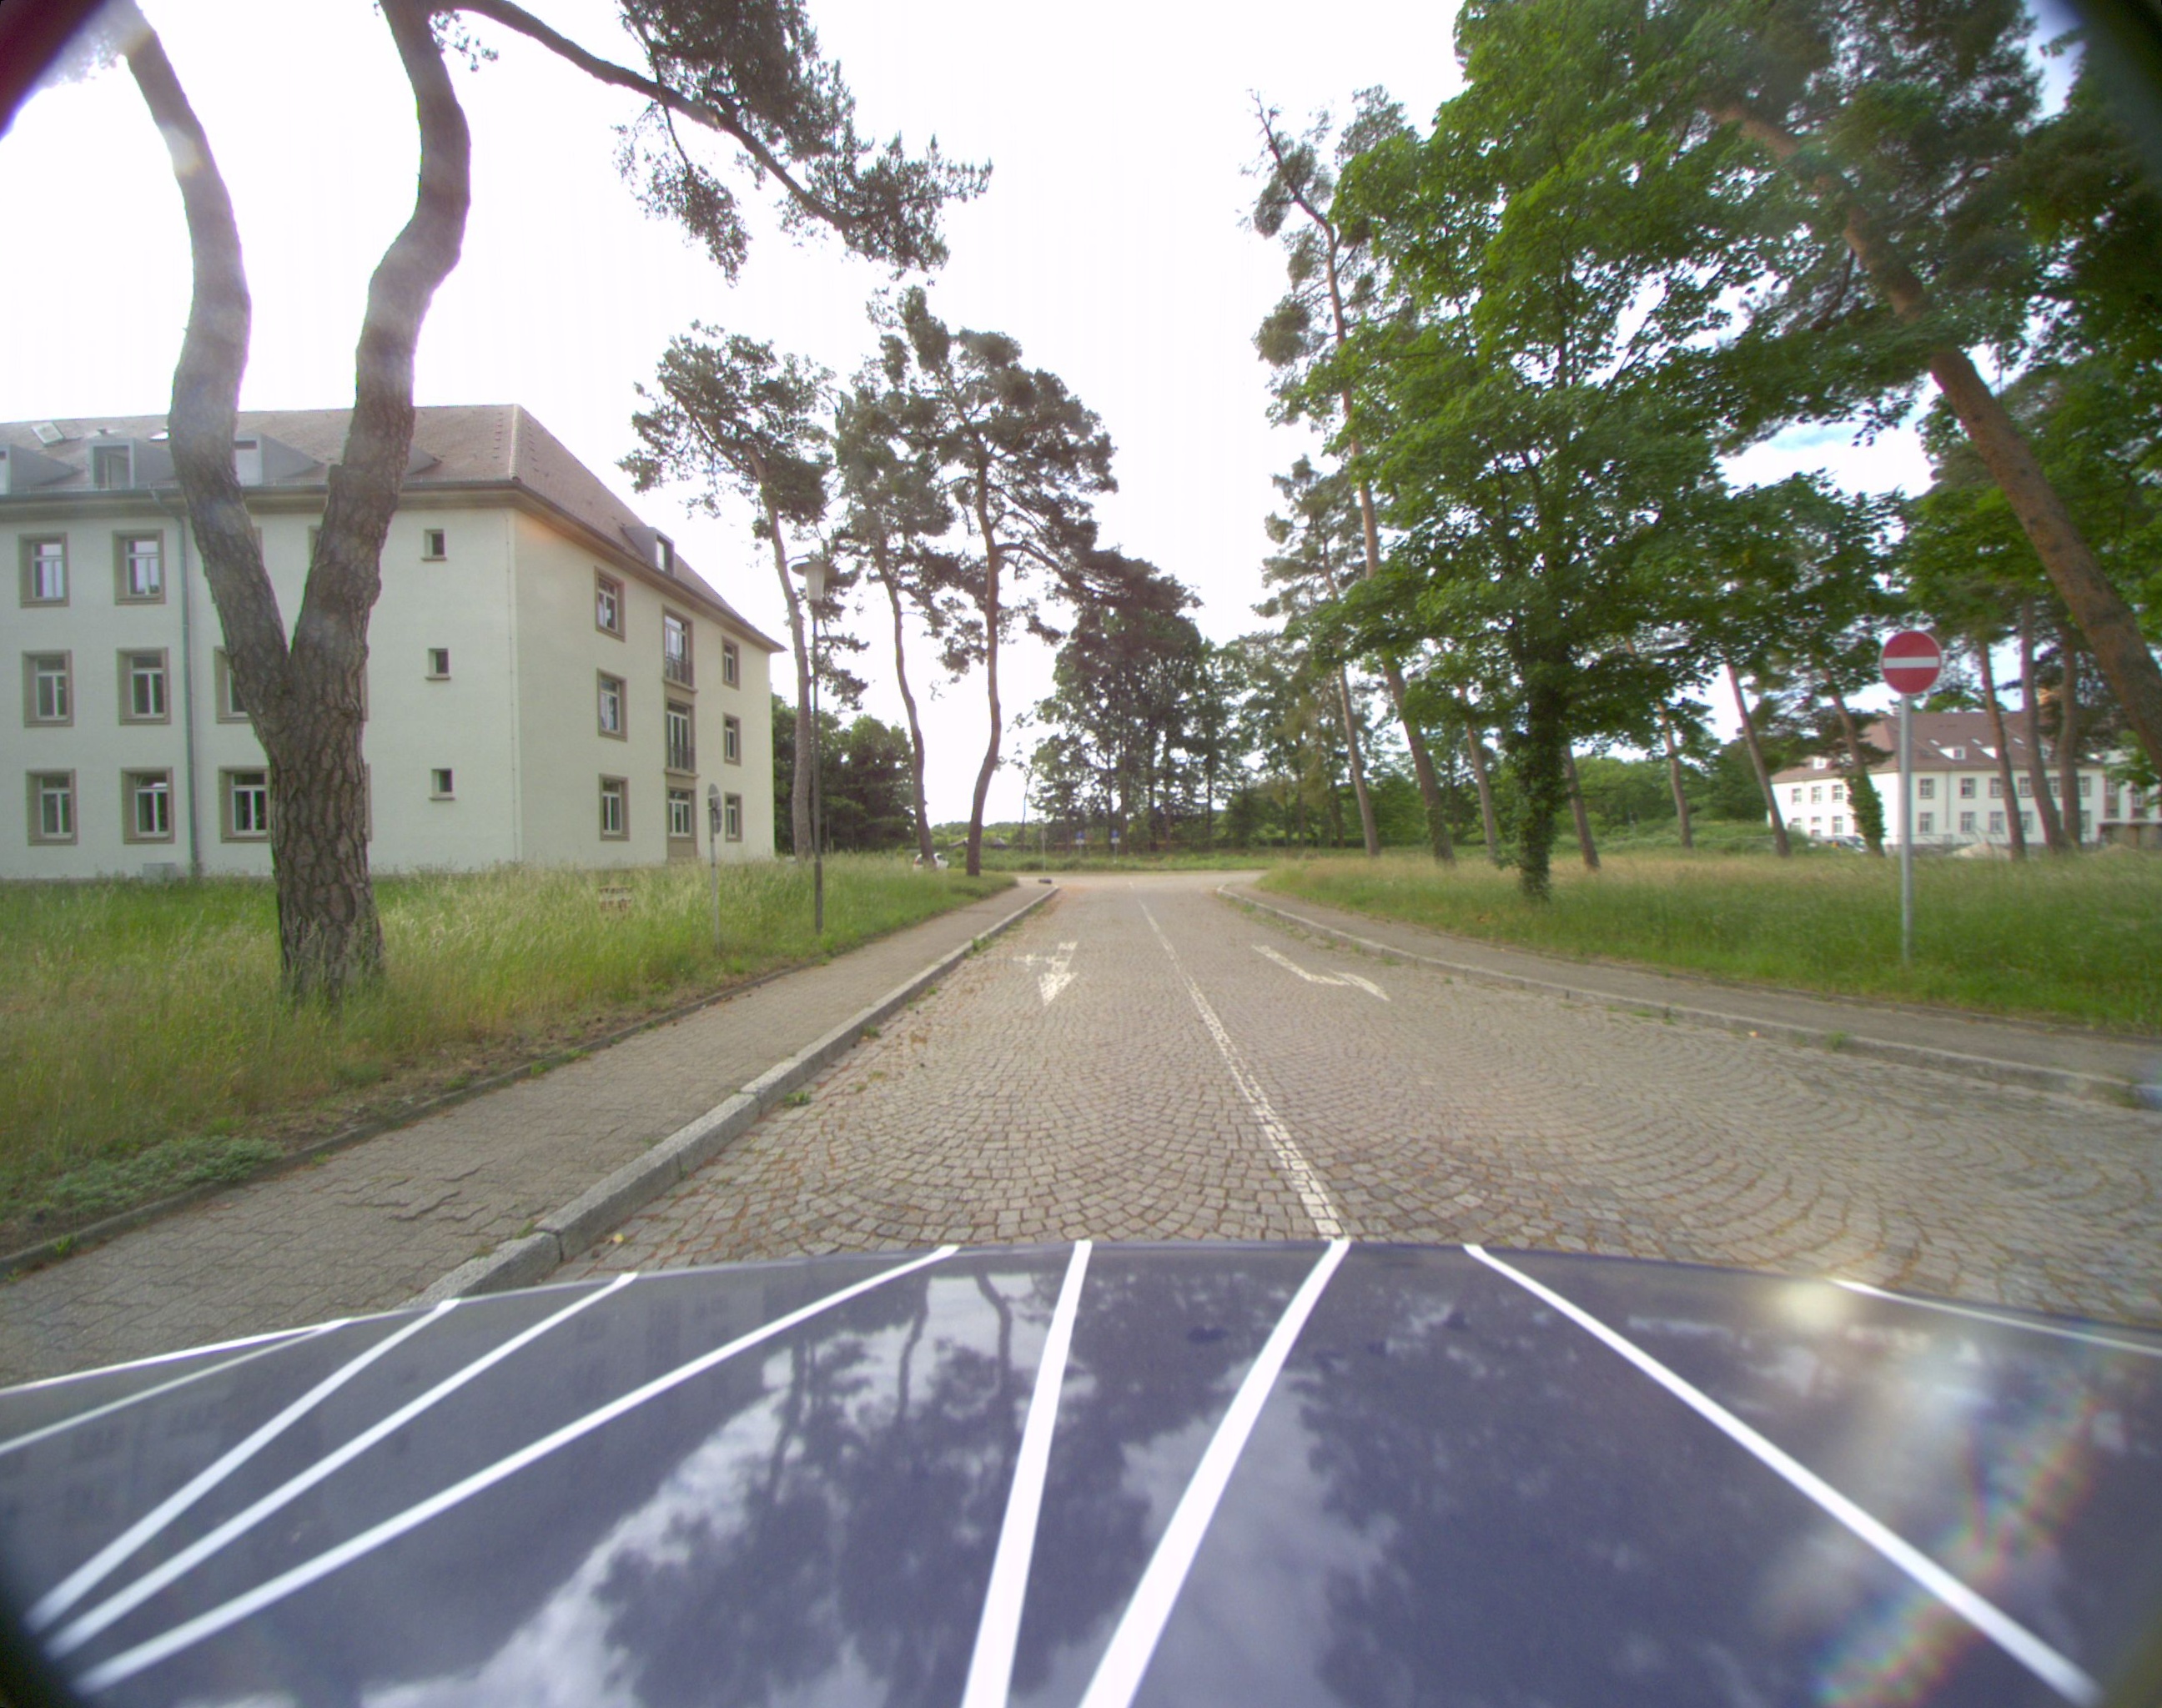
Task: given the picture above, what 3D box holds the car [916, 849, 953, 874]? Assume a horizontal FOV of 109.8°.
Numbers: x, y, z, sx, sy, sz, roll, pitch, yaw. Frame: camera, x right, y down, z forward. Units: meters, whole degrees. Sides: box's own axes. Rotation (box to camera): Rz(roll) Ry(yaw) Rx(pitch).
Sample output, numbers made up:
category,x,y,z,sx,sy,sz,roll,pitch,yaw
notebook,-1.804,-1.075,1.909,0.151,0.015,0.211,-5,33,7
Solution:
category,x,y,z,sx,sy,sz,roll,pitch,yaw
car,-9.605,0.446,49.944,1.640,1.426,3.277,-1,3,3
